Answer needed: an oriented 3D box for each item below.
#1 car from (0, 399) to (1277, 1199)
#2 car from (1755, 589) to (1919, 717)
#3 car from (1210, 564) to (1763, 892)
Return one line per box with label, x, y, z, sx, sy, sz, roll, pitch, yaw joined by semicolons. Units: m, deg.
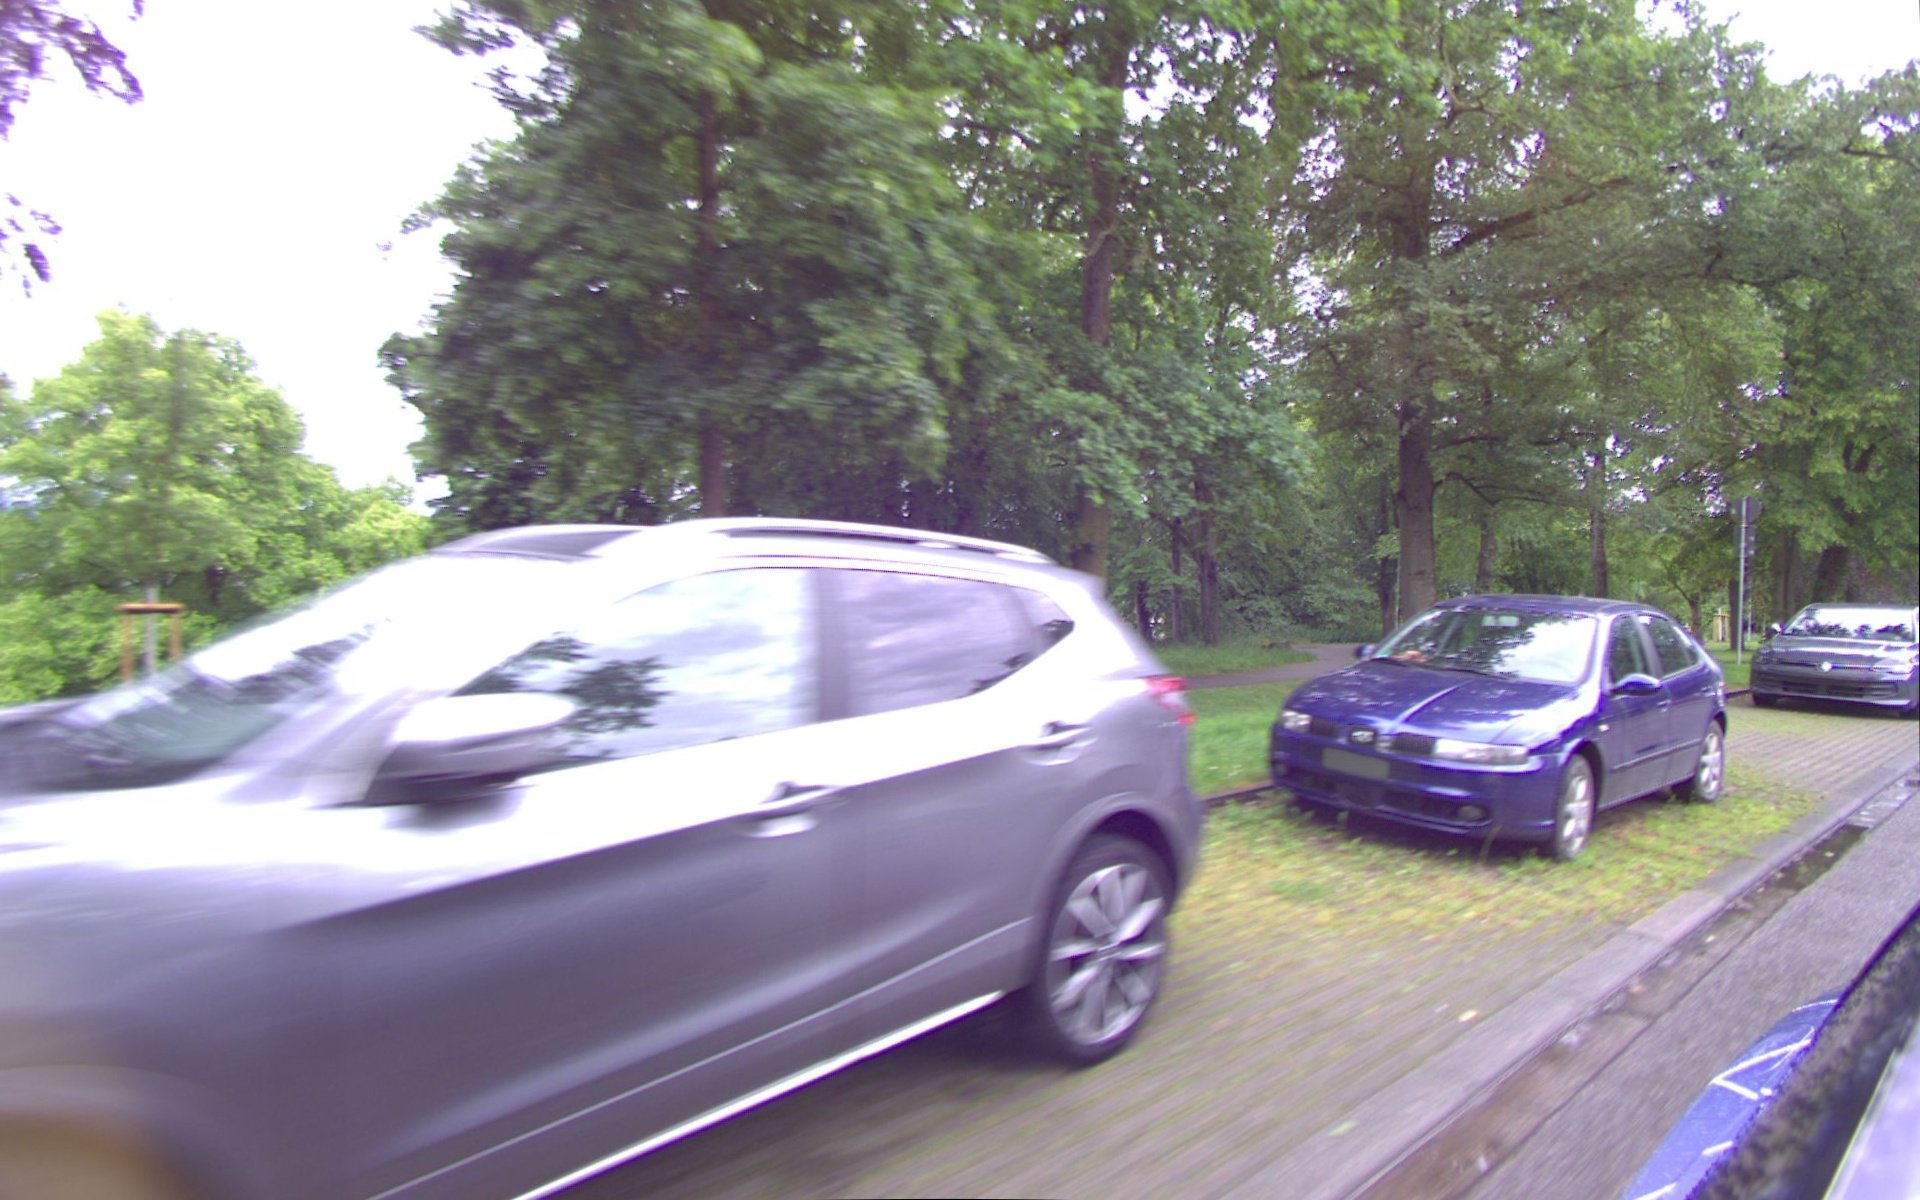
car;-1.031;0.581;2.727;1.783;1.740;4.192;6;3;45
car;12.725;0.640;14.105;4.141;1.479;1.705;0;2;-40
car;3.637;0.601;6.724;3.927;1.470;1.749;1;4;-39
